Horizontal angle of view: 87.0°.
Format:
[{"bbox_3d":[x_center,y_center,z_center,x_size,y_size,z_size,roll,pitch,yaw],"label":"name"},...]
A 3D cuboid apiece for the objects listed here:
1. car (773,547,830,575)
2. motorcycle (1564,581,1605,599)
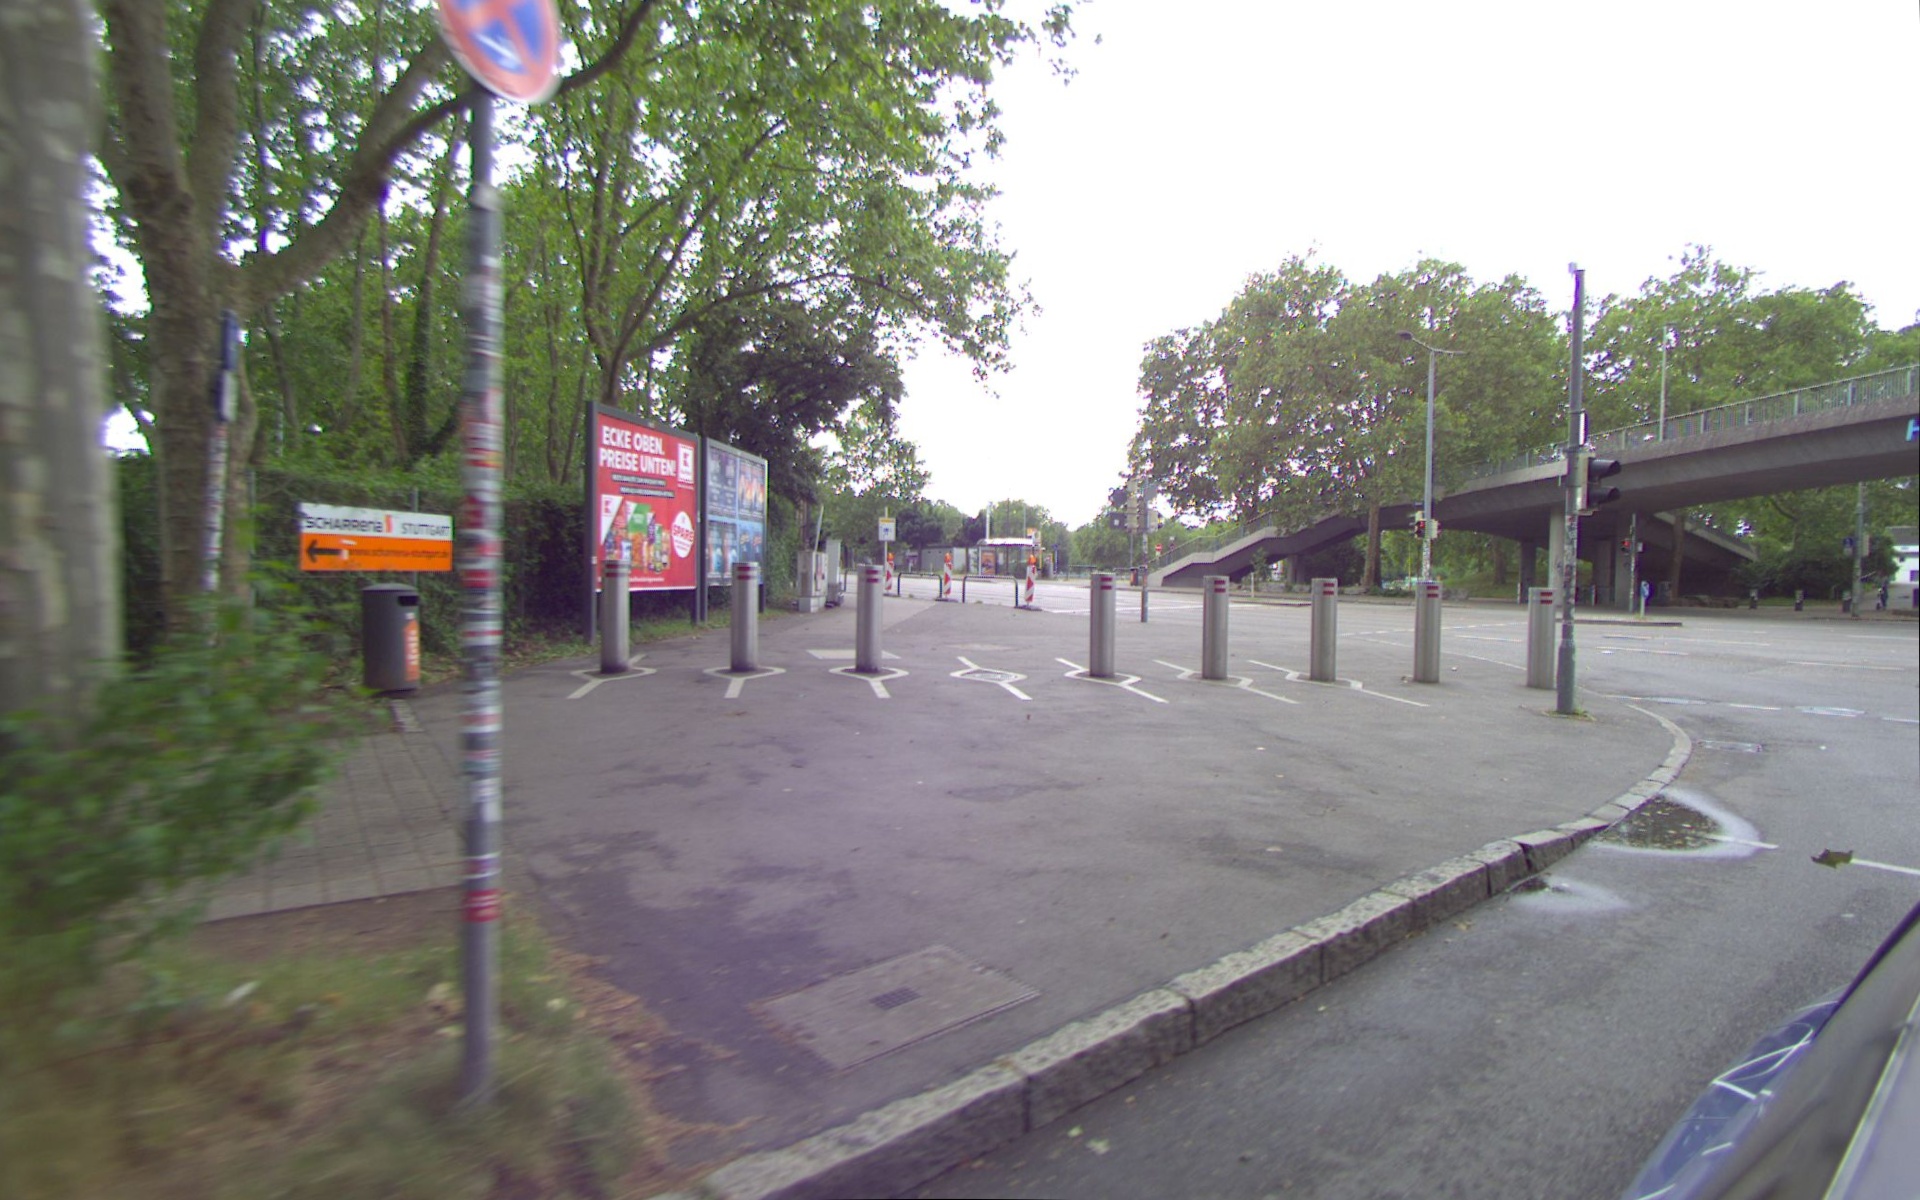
[{"bbox_3d":[-9.158,-2.246,58.264,1.765,1.529,4.004,0,3,-32],"label":"car"},{"bbox_3d":[32.629,-0.537,52.923,0.636,0.862,1.740,0,2,-27],"label":"motorcycle"}]
